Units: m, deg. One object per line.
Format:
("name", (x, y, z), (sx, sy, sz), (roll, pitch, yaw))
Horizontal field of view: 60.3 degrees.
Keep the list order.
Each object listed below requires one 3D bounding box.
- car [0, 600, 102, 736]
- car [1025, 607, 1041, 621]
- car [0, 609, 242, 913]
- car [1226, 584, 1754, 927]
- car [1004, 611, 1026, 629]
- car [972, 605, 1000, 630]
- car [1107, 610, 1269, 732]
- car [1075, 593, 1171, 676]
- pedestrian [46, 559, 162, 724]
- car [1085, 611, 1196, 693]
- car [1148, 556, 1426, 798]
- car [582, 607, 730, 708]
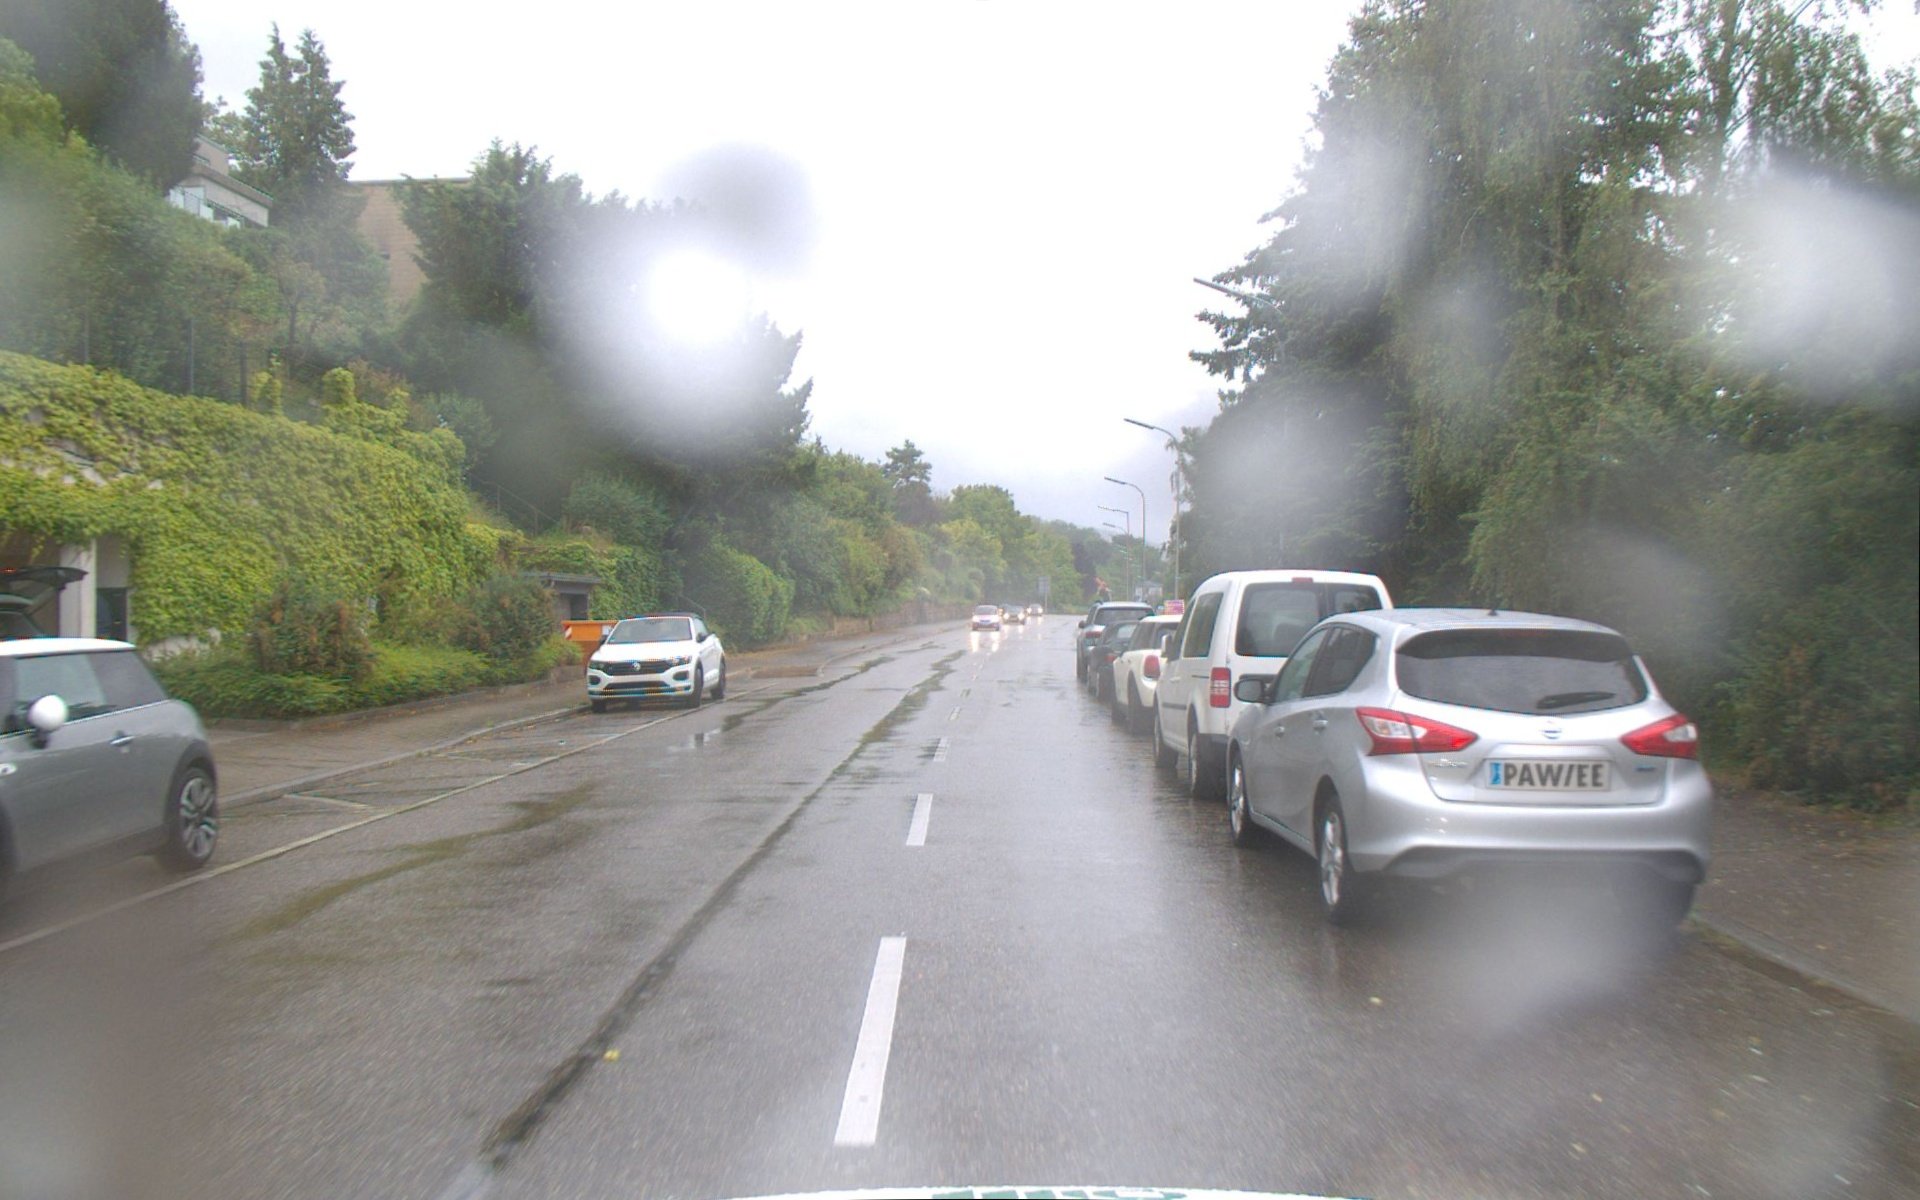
("car", (-11.689, 0.717, 18.050), (3.679, 1.408, 1.866), (0, -1, 3))
("car", (8.400, 1.598, 190.454), (1.723, 1.522, 4.128), (1, -1, 3))
("car", (-5.418, 0.804, 8.646), (1.720, 1.427, 3.768), (-2, -1, -2))
("car", (2.678, 0.723, 9.435), (1.752, 1.485, 4.309), (1, -1, 2))
("car", (4.295, 1.564, 129.288), (1.620, 1.375, 3.988), (1, -1, 2))
("car", (1.585, 1.101, 101.077), (1.628, 1.487, 3.661), (1, -1, 0))
("car", (2.892, 0.881, 21.762), (1.674, 1.428, 4.204), (1, -1, 2))
("car", (3.471, 0.752, 35.906), (1.778, 1.674, 4.396), (1, -1, 2))
("pedestrian", (-10.255, 0.495, 19.848), (0.825, 1.913, 0.902), (1, -2, 3))
("car", (3.099, 0.883, 29.032), (1.597, 1.304, 4.448), (1, -1, 2))
("car", (2.746, 0.628, 14.798), (1.747, 1.822, 4.361), (1, -1, 2))
("car", (-4.987, 0.928, 27.657), (1.720, 1.524, 4.219), (-1, -1, -1))
